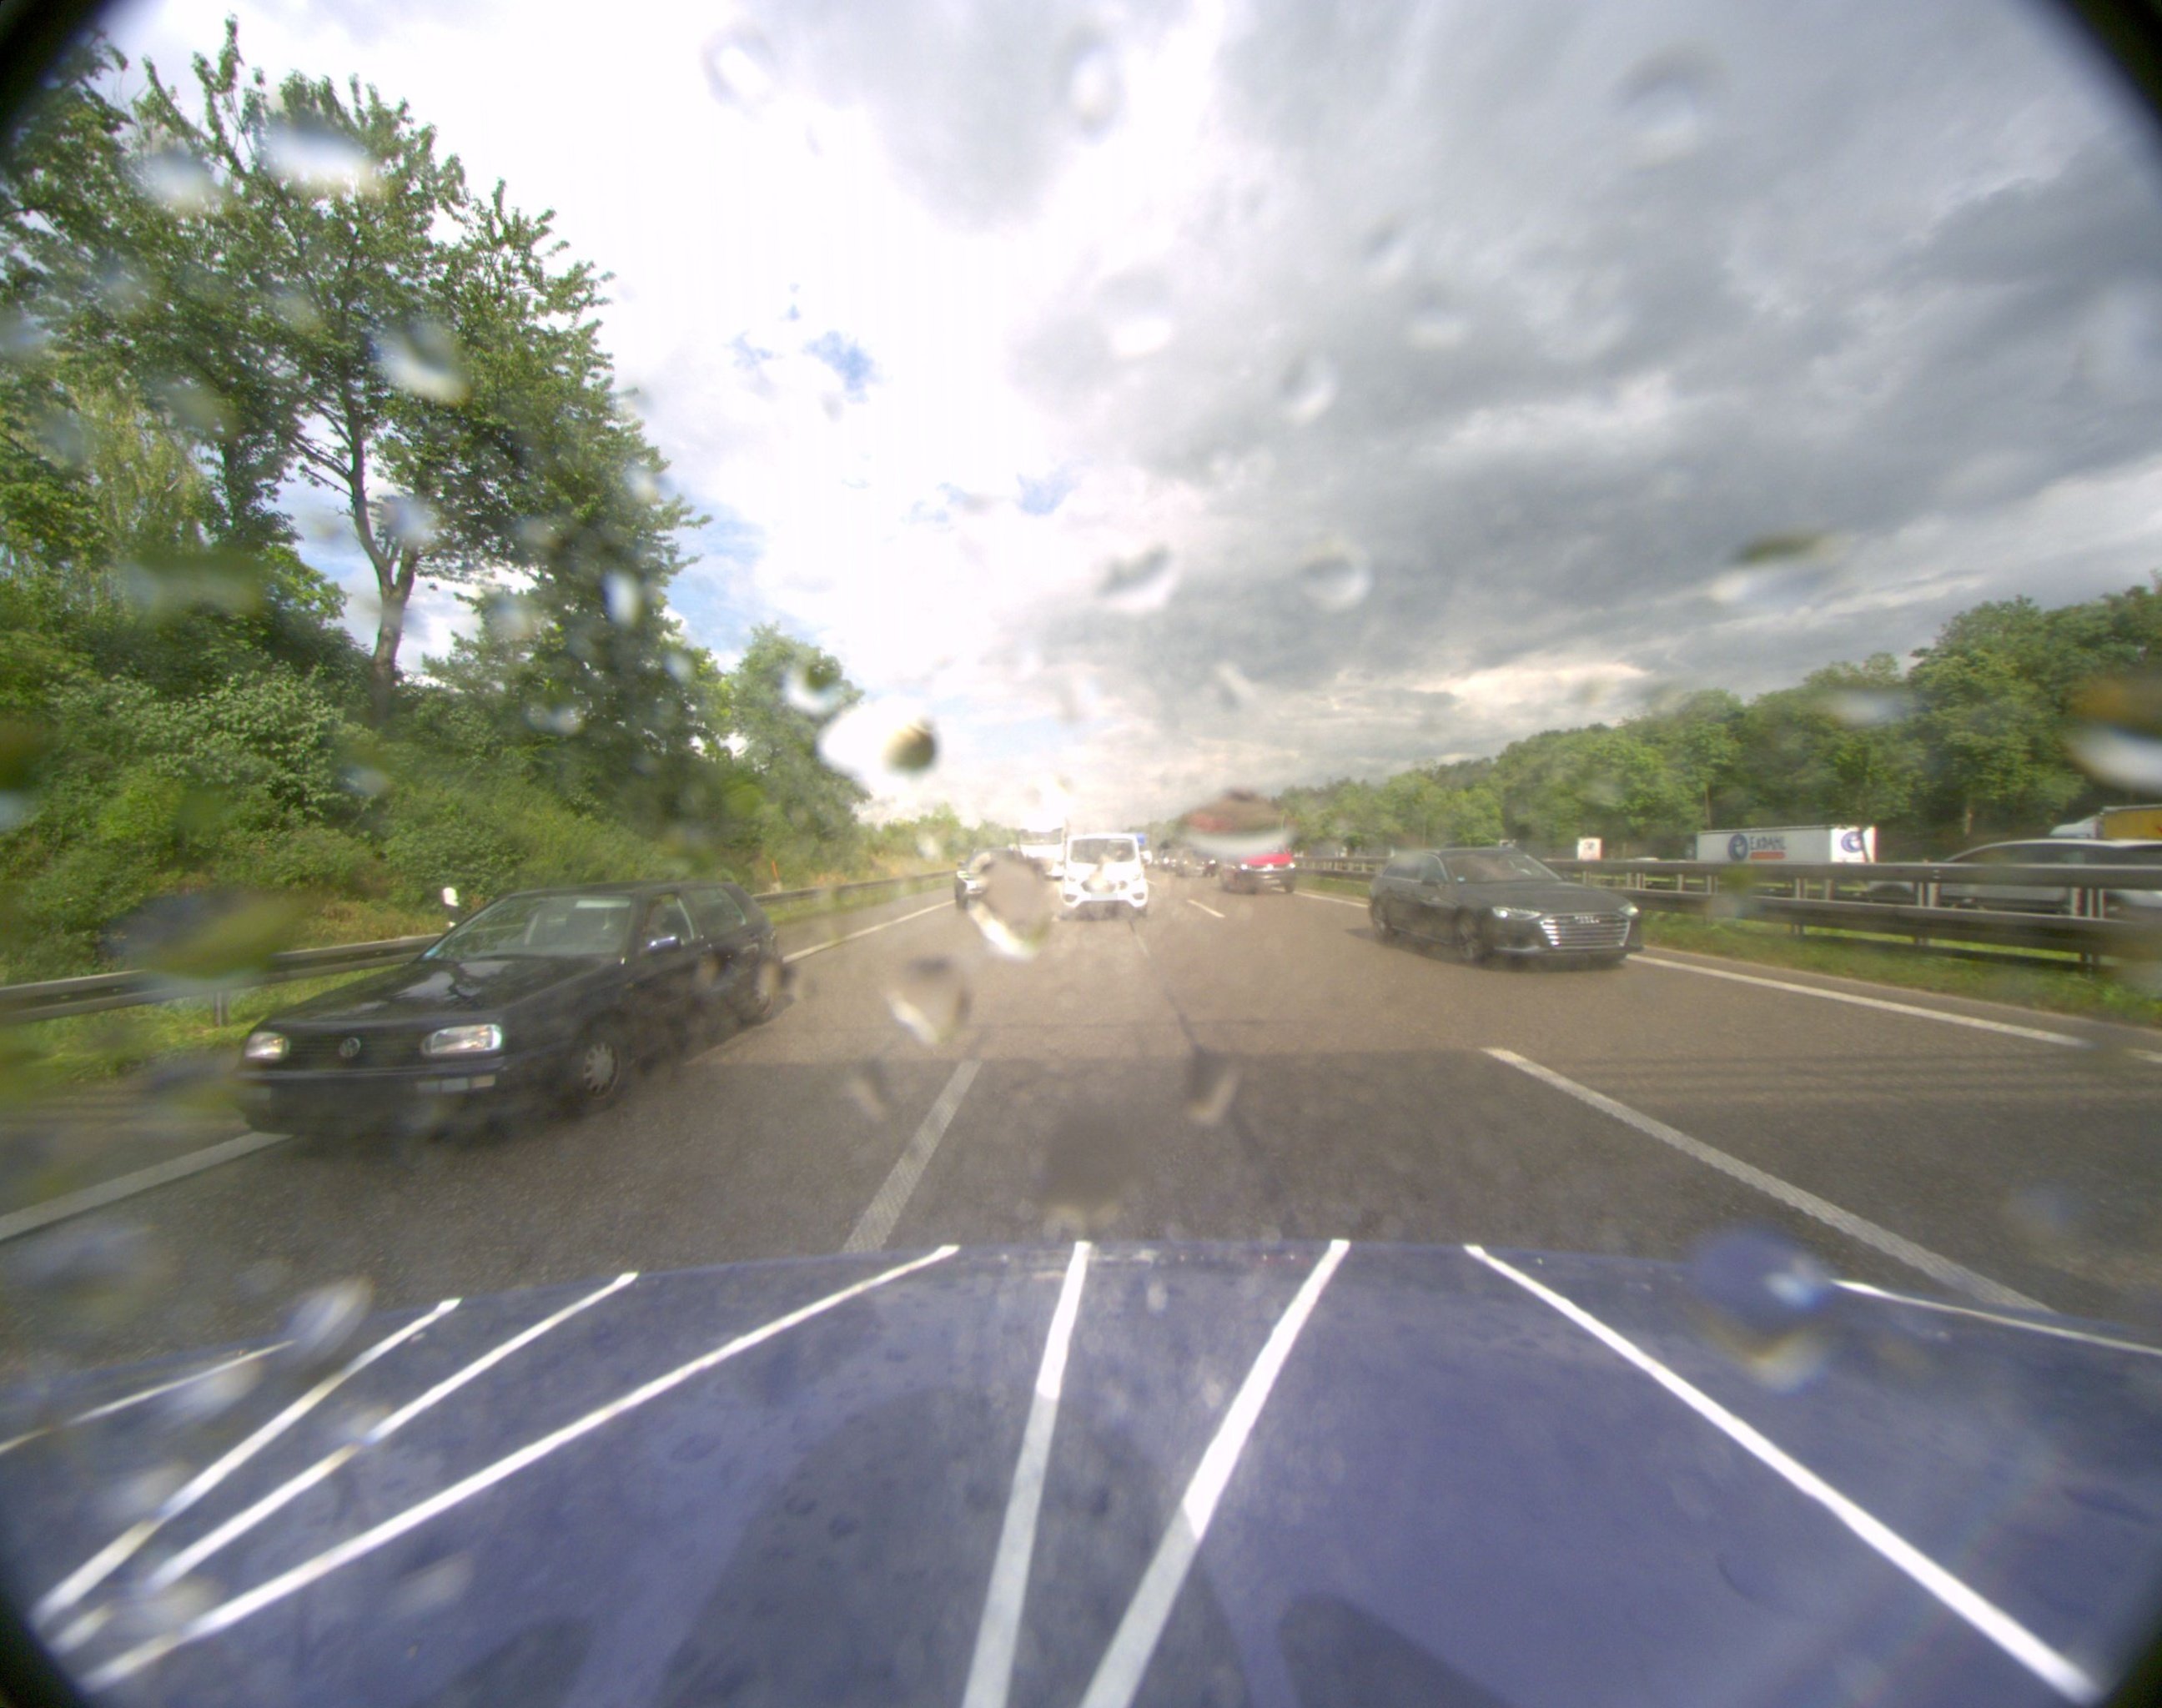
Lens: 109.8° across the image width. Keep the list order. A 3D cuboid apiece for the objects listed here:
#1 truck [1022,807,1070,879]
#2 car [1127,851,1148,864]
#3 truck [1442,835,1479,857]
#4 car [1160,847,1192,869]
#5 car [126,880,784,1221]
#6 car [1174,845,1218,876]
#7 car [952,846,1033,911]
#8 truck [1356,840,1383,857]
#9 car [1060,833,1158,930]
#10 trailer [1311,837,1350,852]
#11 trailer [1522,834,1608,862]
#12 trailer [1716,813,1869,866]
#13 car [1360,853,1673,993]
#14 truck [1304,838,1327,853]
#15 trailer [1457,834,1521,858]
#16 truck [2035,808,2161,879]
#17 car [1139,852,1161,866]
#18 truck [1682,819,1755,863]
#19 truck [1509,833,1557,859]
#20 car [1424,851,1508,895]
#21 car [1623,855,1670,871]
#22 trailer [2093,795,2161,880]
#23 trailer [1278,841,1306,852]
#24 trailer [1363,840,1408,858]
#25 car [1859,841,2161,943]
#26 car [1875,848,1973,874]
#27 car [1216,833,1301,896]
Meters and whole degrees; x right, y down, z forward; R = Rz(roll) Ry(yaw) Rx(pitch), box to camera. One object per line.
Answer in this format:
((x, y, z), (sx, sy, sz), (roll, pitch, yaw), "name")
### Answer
((-2.051, -0.652, 46.582), (2.460, 4.080, 5.332), (-2, 0, 1), "truck")
((5.802, 0.348, 78.607), (1.888, 1.228, 4.506), (-2, 0, 1), "car")
((58.449, -1.227, 117.140), (2.581, 3.232, 6.535), (0, 1, 1), "truck")
((7.064, 0.246, 56.726), (1.895, 1.558, 4.053), (-2, 1, 1), "car")
((-3.751, 1.018, 5.549), (1.655, 1.448, 3.744), (-2, 1, 0), "car")
((6.597, 0.320, 43.910), (1.895, 1.660, 4.294), (-2, 1, 1), "car")
((-2.677, 0.679, 24.301), (1.831, 1.793, 5.305), (-1, 0, 1), "car")
((57.342, -1.123, 151.237), (3.182, 3.237, 5.390), (0, 1, -1), "truck")
((0.629, 0.570, 18.570), (1.985, 1.973, 5.168), (-2, 0, 1), "car")
((55.383, -2.079, 168.889), (3.085, 3.253, 13.401), (0, 1, -6), "trailer")
((57.405, -0.720, 90.710), (3.026, 3.174, 12.175), (0, 0, 3), "trailer")
((53.277, -1.058, 57.509), (2.186, 3.579, 11.726), (0, 1, 9), "trailer")
((5.441, 0.730, 10.302), (1.723, 1.403, 4.467), (-2, 1, 1), "car")
((54.563, -1.993, 177.096), (3.082, 3.237, 6.093), (0, 1, -6), "truck")
((58.344, -1.145, 109.205), (2.611, 3.253, 12.647), (0, 1, 1), "trailer")
((48.622, -0.517, 35.695), (1.978, 3.080, 5.080), (-2, 1, 13), "truck")
((6.359, 0.430, 70.647), (1.675, 1.228, 4.000), (-2, 0, 1), "car")
((54.390, -1.115, 65.004), (2.167, 3.599, 5.581), (0, 1, 9), "truck")
((57.972, -1.000, 97.685), (3.049, 3.165, 5.597), (0, 1, 3), "truck")
((18.845, 0.876, 37.438), (1.998, 1.953, 4.395), (-2, 0, 2), "car")
((56.039, 0.842, 75.388), (1.899, 1.494, 4.001), (0, 1, 5), "car")
((47.055, -0.657, 28.897), (1.996, 3.673, 13.669), (-2, 1, 13), "trailer")
((52.512, -1.844, 189.263), (2.537, 2.559, 9.869), (-2, 1, -10), "trailer")
((57.519, -1.031, 143.997), (3.192, 3.253, 12.644), (0, 1, -1), "trailer")
((14.638, 0.461, 11.409), (1.849, 1.288, 4.000), (-1, 0, 1), "car")
((51.333, 0.400, 46.391), (1.898, 1.494, 4.002), (0, 1, 9), "car")
((6.097, 0.325, 26.687), (1.895, 1.973, 4.750), (-2, 0, 1), "car")
